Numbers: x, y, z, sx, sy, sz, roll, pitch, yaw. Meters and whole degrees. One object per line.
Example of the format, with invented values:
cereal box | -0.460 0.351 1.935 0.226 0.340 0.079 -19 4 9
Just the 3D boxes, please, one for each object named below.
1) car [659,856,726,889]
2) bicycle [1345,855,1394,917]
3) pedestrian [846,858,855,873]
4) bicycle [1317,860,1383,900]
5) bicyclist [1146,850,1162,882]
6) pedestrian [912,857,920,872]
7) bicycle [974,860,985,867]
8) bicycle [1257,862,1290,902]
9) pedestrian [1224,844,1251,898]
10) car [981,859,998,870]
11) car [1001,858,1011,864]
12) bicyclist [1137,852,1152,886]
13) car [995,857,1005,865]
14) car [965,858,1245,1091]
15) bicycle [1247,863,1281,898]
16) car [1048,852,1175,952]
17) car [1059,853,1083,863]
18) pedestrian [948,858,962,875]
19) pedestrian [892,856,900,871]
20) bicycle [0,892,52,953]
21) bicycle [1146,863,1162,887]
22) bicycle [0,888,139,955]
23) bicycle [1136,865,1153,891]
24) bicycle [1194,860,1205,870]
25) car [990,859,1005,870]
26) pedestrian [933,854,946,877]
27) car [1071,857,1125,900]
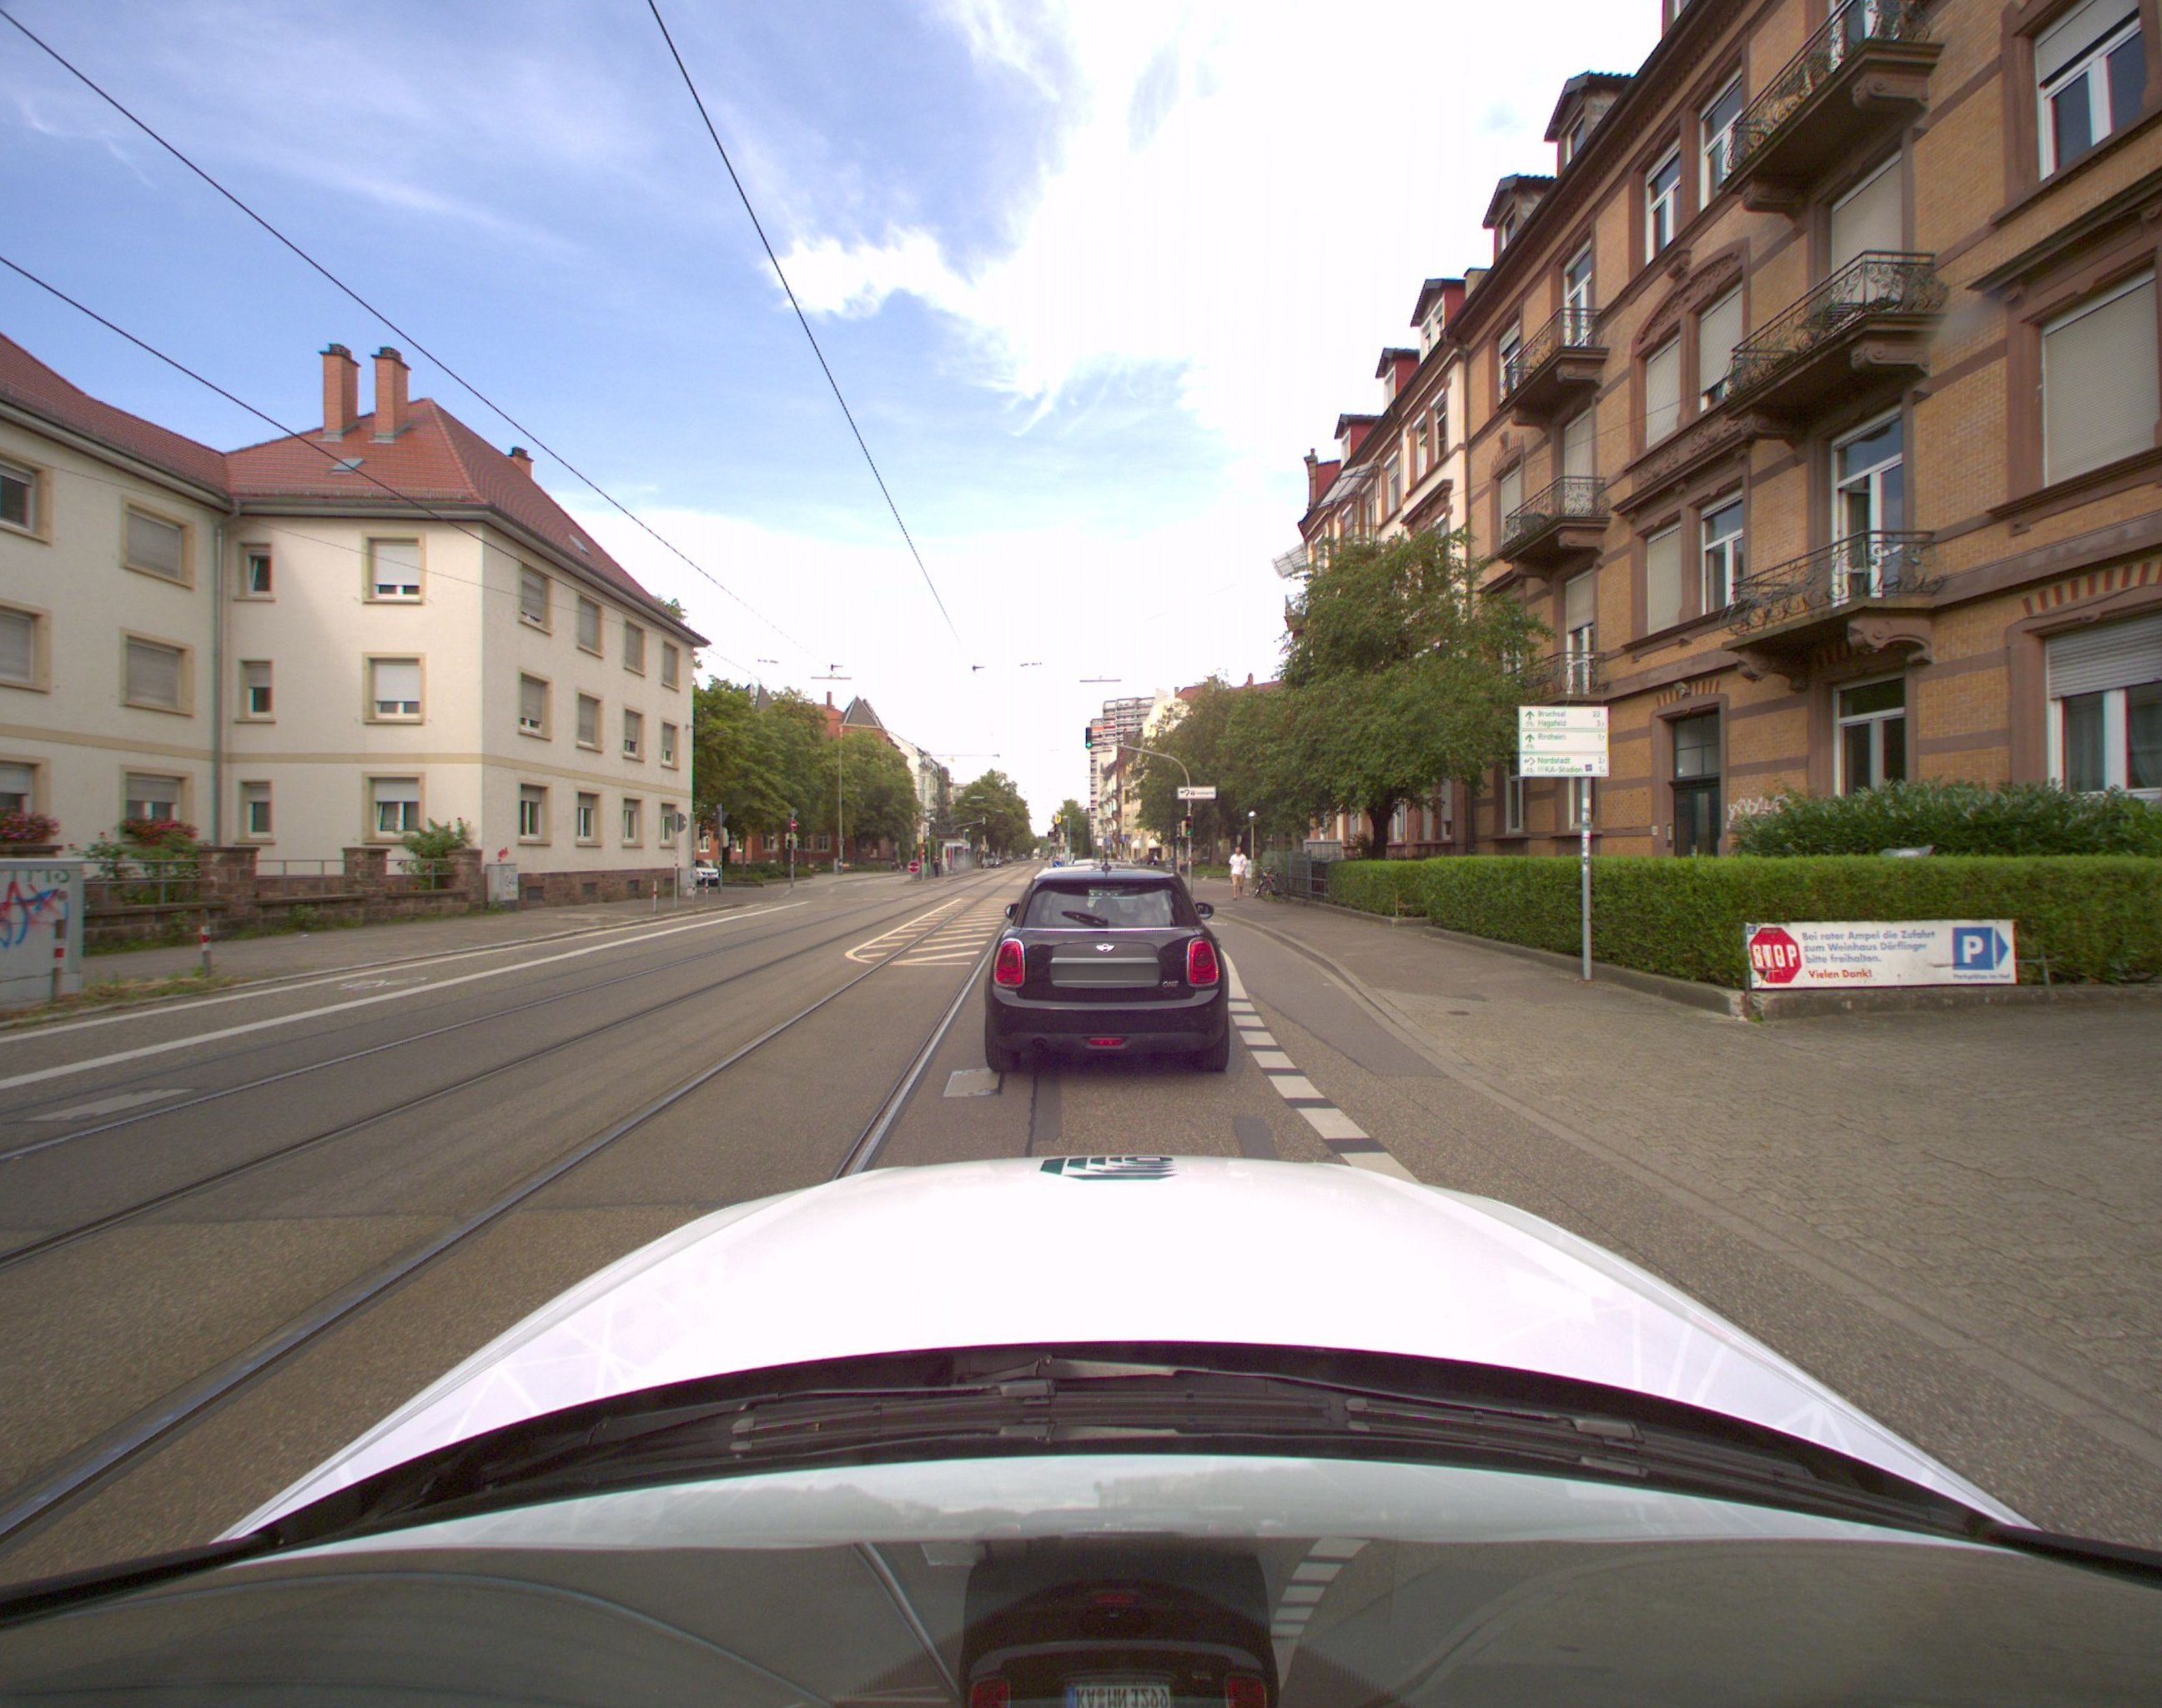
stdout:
car | -22.523 1.091 47.198 4.105 1.721 1.852 -3 -3 38
bicycle | 6.224 0.661 17.646 0.514 1.282 1.550 -1 0 0
pedestrian | -25.334 1.255 89.691 0.832 1.703 0.731 0 0 -8
bicycle | 7.040 0.681 21.330 1.542 1.009 0.509 -1 0 -4
bicyclist | 3.666 0.593 40.972 0.682 1.564 0.998 -1 0 0
pedestrian | -18.719 1.207 92.488 0.692 1.719 0.758 -1 0 0
bicycle | -16.019 1.443 128.560 1.681 1.119 0.566 -1 0 -42
bicycle | 5.645 0.816 23.948 0.507 1.088 1.549 -4 0 -2
pedestrian | 5.119 0.550 26.738 0.727 1.754 0.950 -1 0 2
car | -11.993 1.371 107.209 1.746 1.441 3.999 1 0 0
car | -18.183 1.736 197.662 1.988 1.552 3.997 0 0 -2
bicyclist | 2.998 0.699 38.639 0.593 1.550 1.013 -1 0 -2
car | -17.375 1.523 174.725 1.988 1.552 3.997 0 0 -2
car | 0.207 0.765 7.112 1.745 1.441 4.001 0 0 2
bicycle | 5.983 0.850 26.685 0.669 1.106 1.671 -1 0 -2
car | 0.528 0.748 14.441 1.919 1.510 4.002 -1 0 2
car | -2.151 0.876 180.835 5.067 2.272 2.368 0 0 -43
pedestrian | -10.177 1.013 65.850 1.057 1.294 0.983 0 -1 -8
pedestrian | -21.091 1.063 93.038 0.832 1.703 0.731 0 0 -8
bicycle | -17.032 1.077 12.468 0.476 0.915 1.671 -1 0 -2
bicycle | 3.671 1.050 41.031 0.682 1.170 1.696 -1 0 0
bicycle | -16.077 1.033 12.866 0.476 0.915 1.671 -1 0 -2
bicycle | 3.009 1.107 38.640 0.597 1.170 1.695 -1 0 -2
bicycle | 13.105 1.194 90.152 0.444 1.055 1.659 -1 -1 40
car | -11.752 1.445 115.108 1.746 1.441 3.999 1 0 0
pedestrian | -10.085 0.815 57.879 0.851 1.621 0.841 0 -1 -8
car | 0.534 0.820 29.250 1.747 1.441 4.477 0 0 -1
